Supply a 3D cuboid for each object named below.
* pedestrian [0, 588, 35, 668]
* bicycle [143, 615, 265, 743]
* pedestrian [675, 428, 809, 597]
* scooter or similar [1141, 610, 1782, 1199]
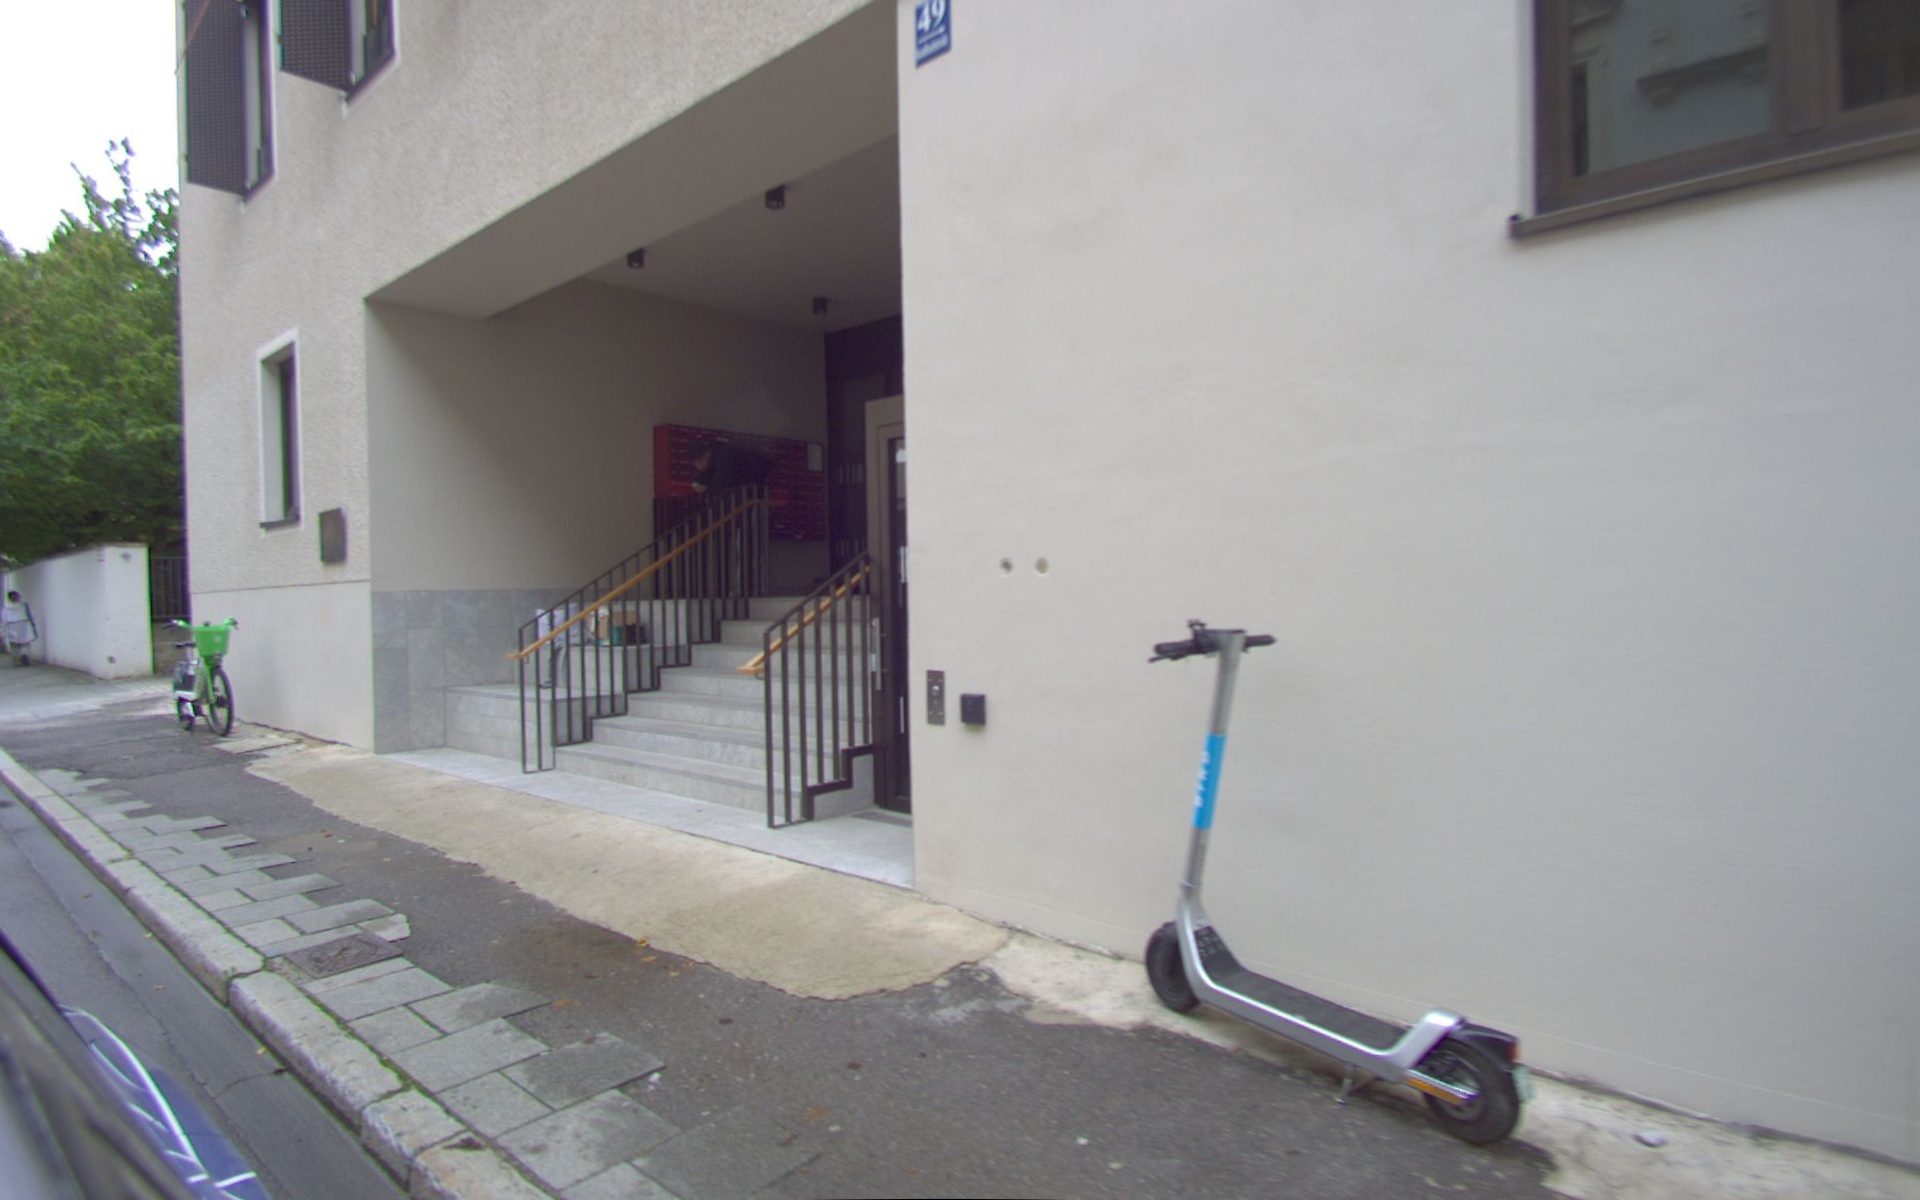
[{"bbox_3d":[-20.196,0.582,21.531,0.687,1.633,0.607,0,3,42],"label":"pedestrian"},{"bbox_3d":[-7.607,0.744,10.148,1.916,1.147,0.532,-1,2,41],"label":"bicycle"},{"bbox_3d":[-2.067,-0.778,9.600,0.994,1.495,0.760,0,0,-42],"label":"pedestrian"},{"bbox_3d":[1.152,0.632,2.586,0.544,1.152,1.362,-4,3,-32],"label":"scooter or similar"}]
